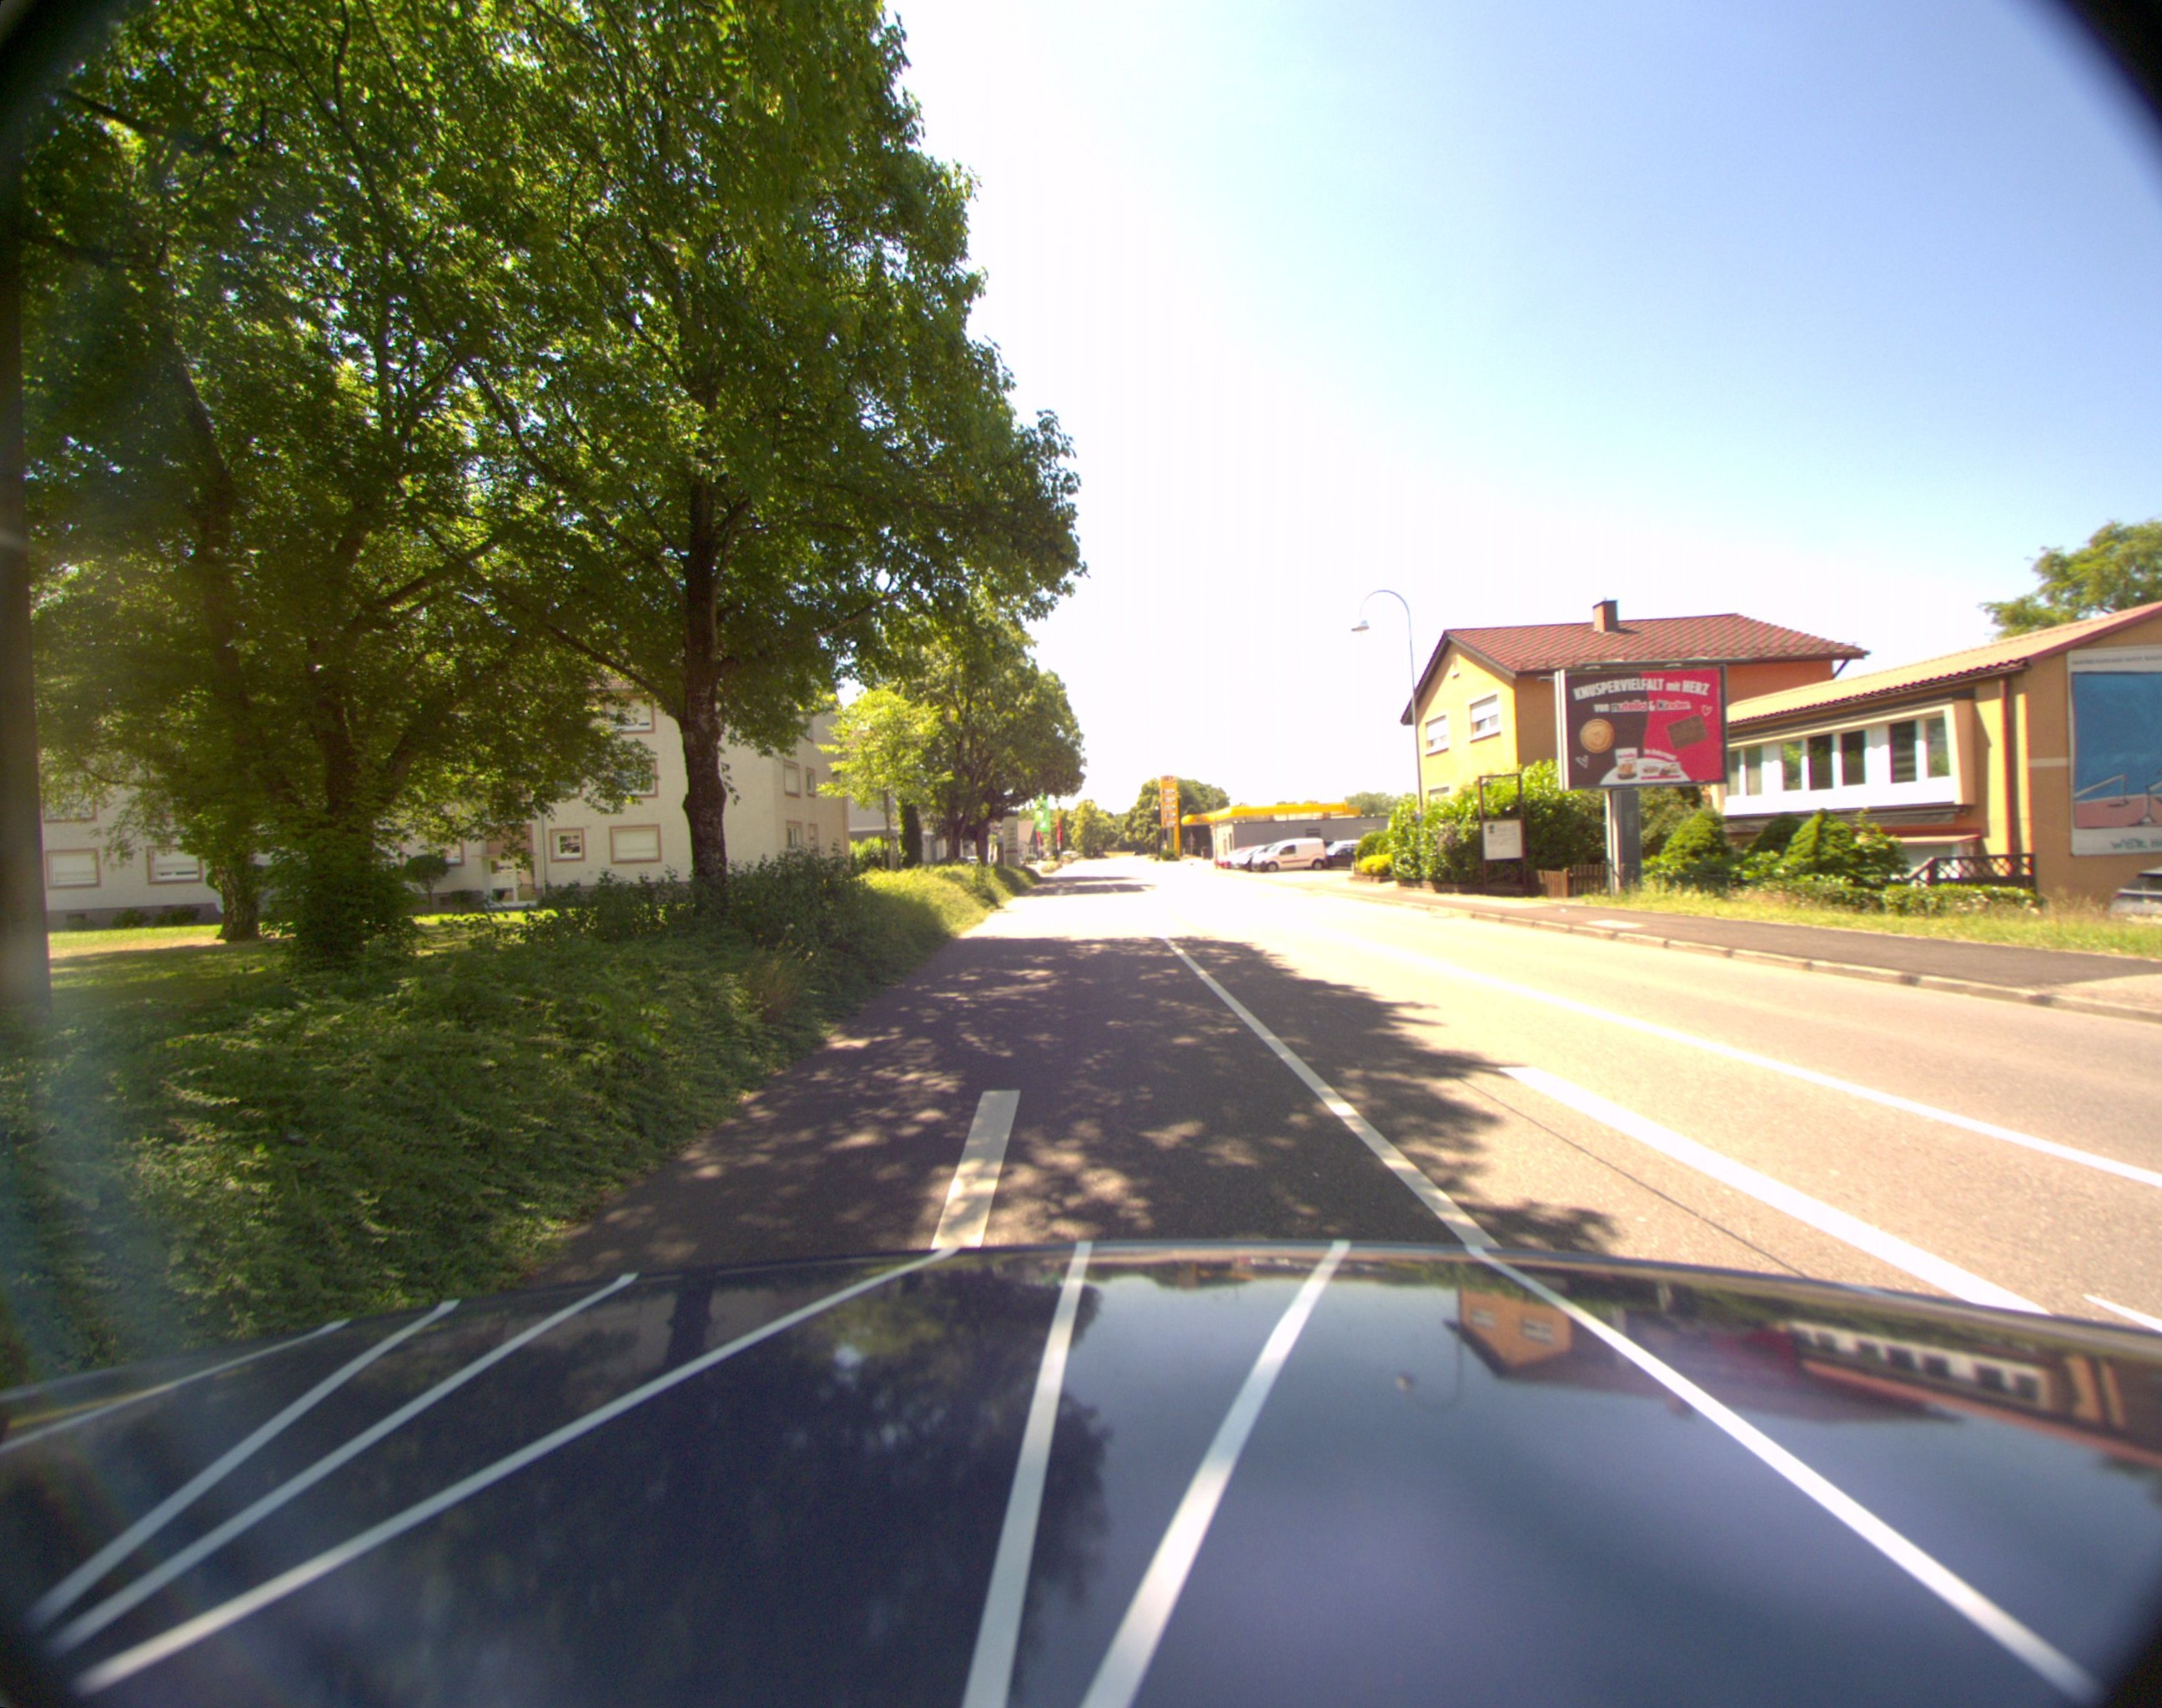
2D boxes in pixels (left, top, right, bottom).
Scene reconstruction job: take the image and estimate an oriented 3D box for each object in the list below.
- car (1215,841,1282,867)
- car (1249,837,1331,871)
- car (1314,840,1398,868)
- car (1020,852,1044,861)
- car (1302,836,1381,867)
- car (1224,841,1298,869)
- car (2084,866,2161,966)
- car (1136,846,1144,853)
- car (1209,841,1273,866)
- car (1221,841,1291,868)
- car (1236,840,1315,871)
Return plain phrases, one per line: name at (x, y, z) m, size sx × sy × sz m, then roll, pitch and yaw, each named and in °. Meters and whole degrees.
car at (12.235, -0.038, 55.587) m, size 4.402 × 1.750 × 1.874 m, roll -2°, pitch 1°, yaw -5°
car at (12.189, -0.013, 44.425) m, size 4.191 × 1.858 × 1.874 m, roll -2°, pitch 1°, yaw -5°
car at (16.753, -0.007, 46.439) m, size 4.402 × 1.554 × 1.874 m, roll -2°, pitch 1°, yaw -5°
car at (-8.279, 0.412, 128.989) m, size 4.118 × 1.521 × 1.776 m, roll -1°, pitch 1°, yaw 45°
car at (16.661, -0.157, 48.678) m, size 4.402 × 1.815 × 1.874 m, roll -2°, pitch 1°, yaw -5°
car at (12.054, 0.048, 51.055) m, size 4.402 × 1.750 × 1.874 m, roll -2°, pitch 1°, yaw -5°
car at (19.829, 0.990, 12.372) m, size 4.224 × 1.599 × 1.772 m, roll -1°, pitch 1°, yaw 7°
car at (14.647, -1.099, 189.428) m, size 1.809 × 1.552 × 4.064 m, roll -2°, pitch 1°, yaw 6°
car at (12.229, -0.018, 58.083) m, size 4.402 × 1.750 × 1.874 m, roll -2°, pitch 1°, yaw -5°
car at (12.220, 0.023, 53.225) m, size 4.402 × 1.750 × 1.874 m, roll -2°, pitch 1°, yaw -5°
car at (11.883, 0.066, 46.529) m, size 4.246 × 1.750 × 1.874 m, roll -2°, pitch 1°, yaw -5°
